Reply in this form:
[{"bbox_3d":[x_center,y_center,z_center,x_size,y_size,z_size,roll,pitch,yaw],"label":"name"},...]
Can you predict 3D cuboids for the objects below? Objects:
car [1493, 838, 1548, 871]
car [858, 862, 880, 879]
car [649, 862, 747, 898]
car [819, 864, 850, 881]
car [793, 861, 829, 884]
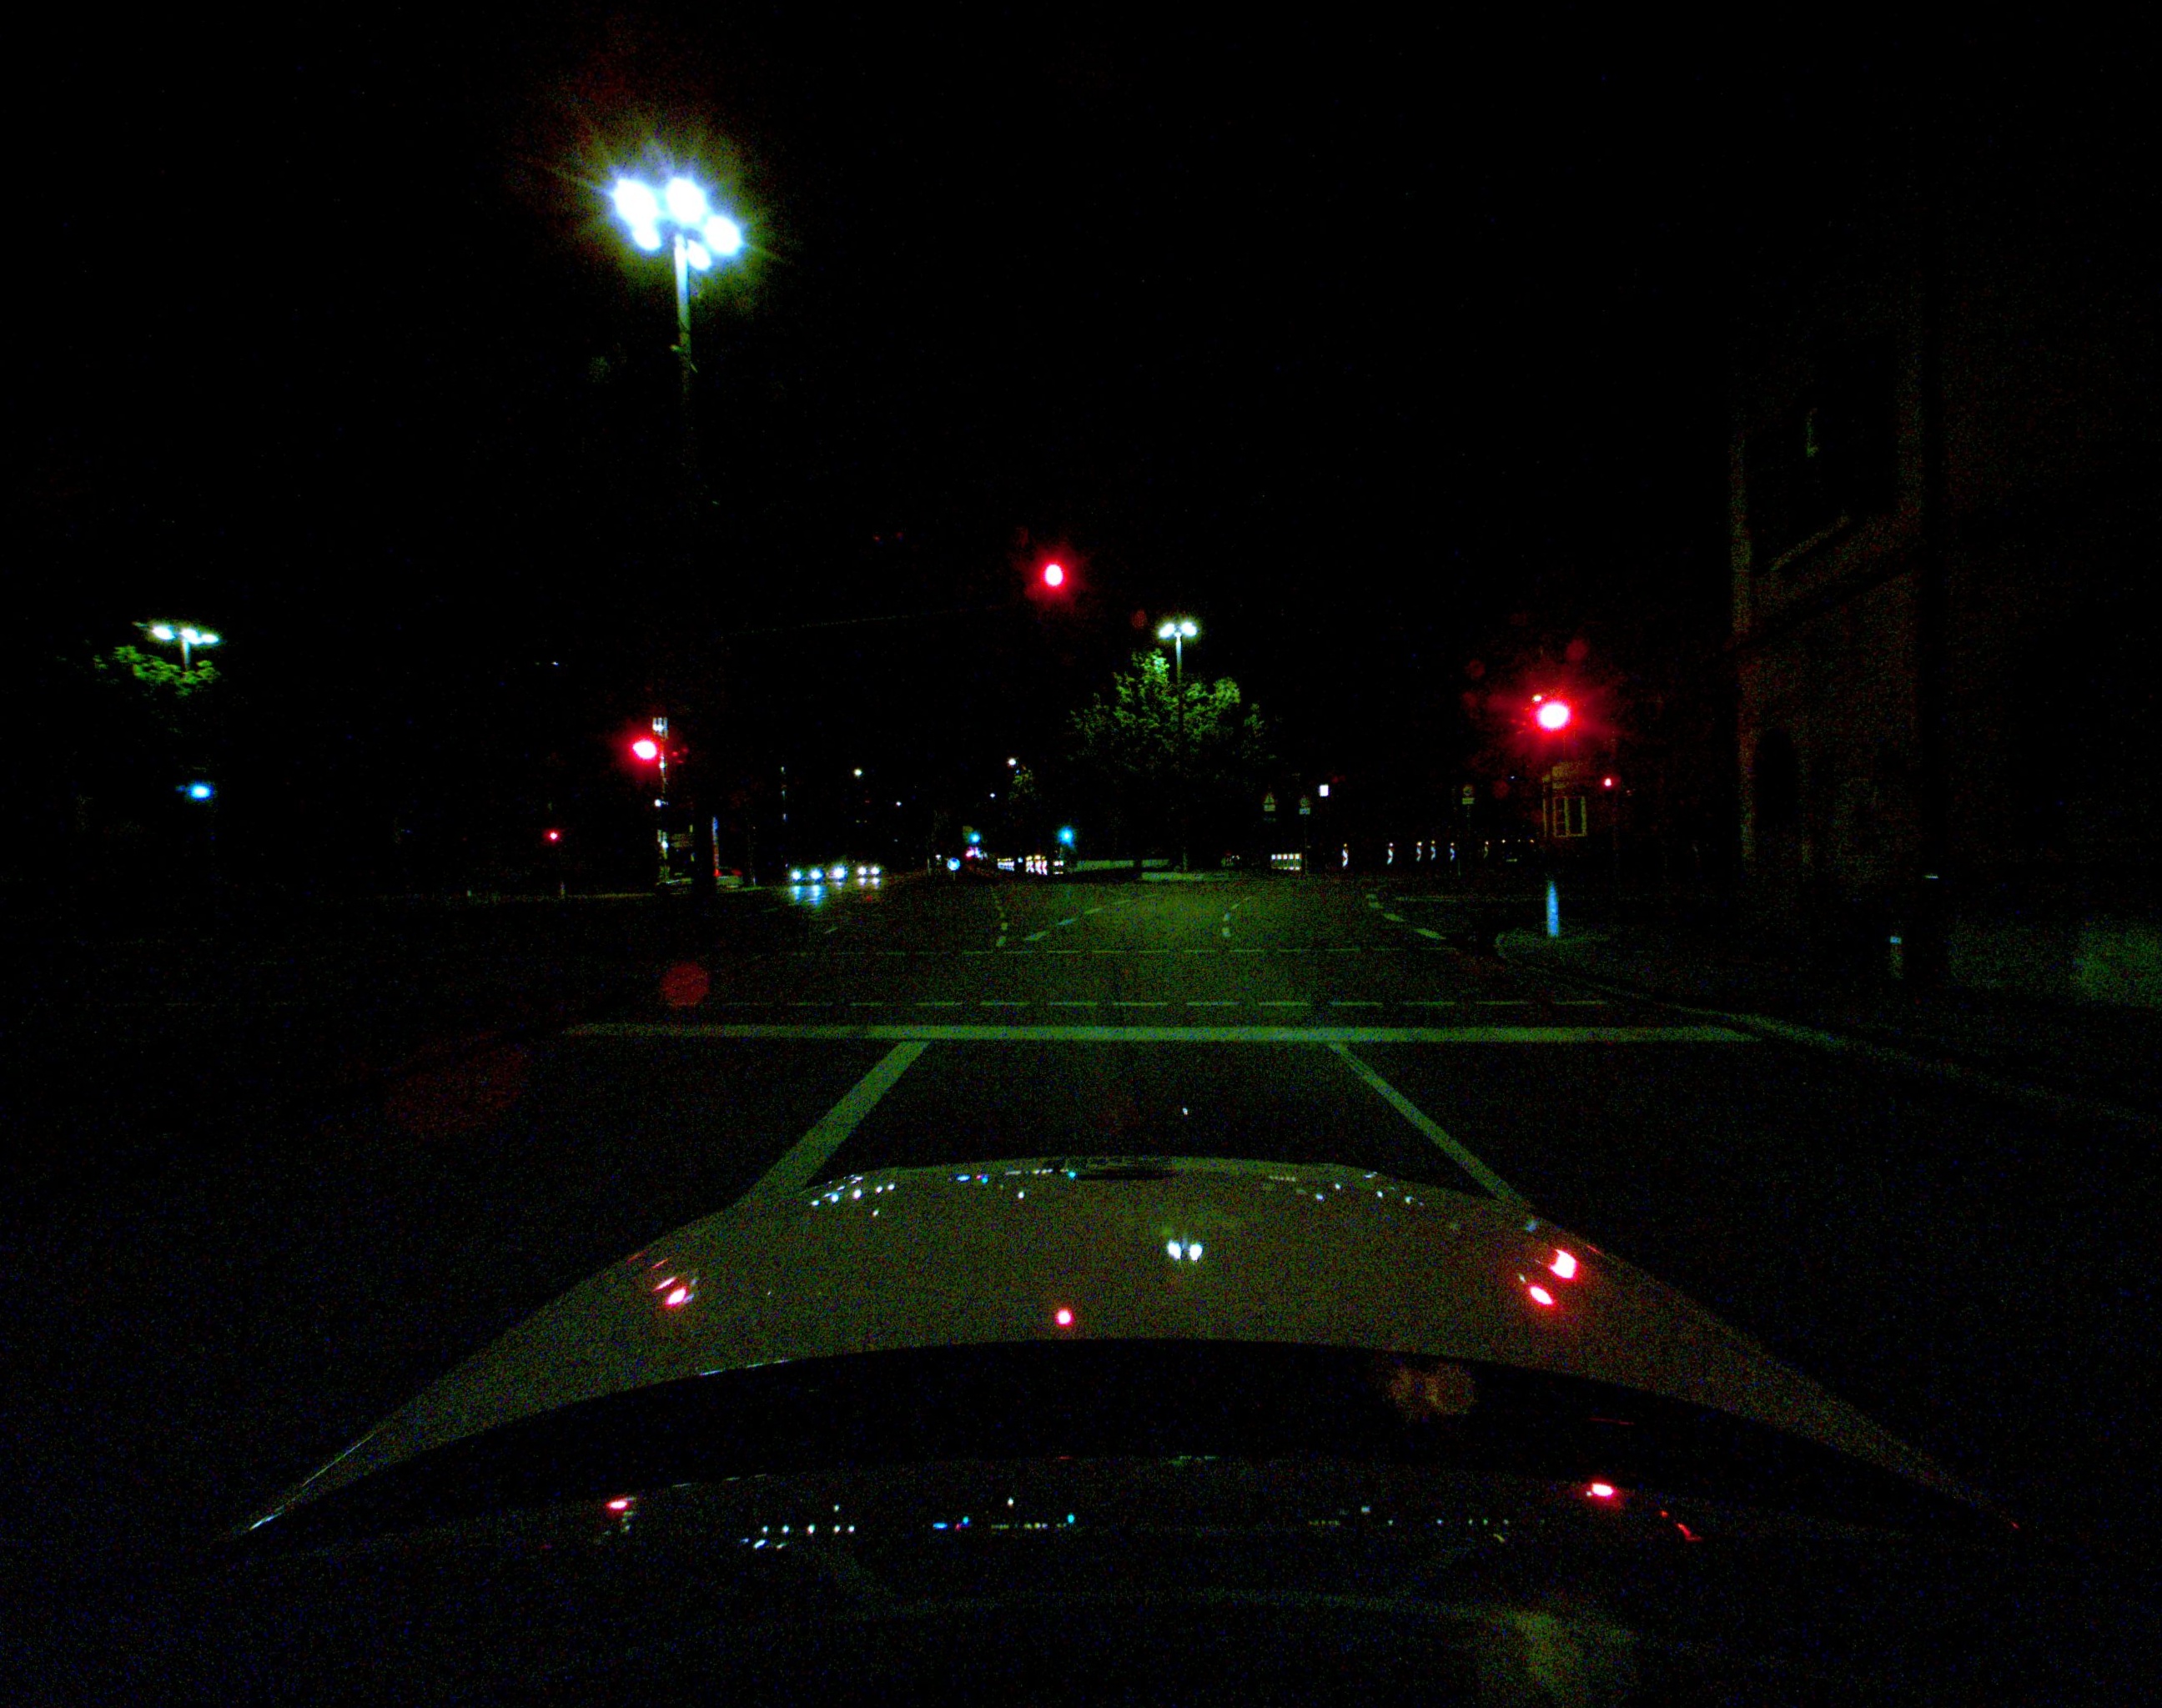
[{"bbox_3d":[23.218,0.015,43.004,1.711,1.612,3.646,-2,-1,41],"label":"car"},{"bbox_3d":[-22.484,1.721,86.562,1.756,1.728,3.539,-2,-1,-7],"label":"car"},{"bbox_3d":[-17.146,1.181,36.495,3.952,1.491,1.718,-2,-1,23],"label":"car"},{"bbox_3d":[-19.685,1.474,65.181,1.756,1.322,3.539,-2,-1,-7],"label":"car"},{"bbox_3d":[-19.067,1.266,57.655,1.614,1.515,3.991,-2,-1,-6],"label":"car"}]
